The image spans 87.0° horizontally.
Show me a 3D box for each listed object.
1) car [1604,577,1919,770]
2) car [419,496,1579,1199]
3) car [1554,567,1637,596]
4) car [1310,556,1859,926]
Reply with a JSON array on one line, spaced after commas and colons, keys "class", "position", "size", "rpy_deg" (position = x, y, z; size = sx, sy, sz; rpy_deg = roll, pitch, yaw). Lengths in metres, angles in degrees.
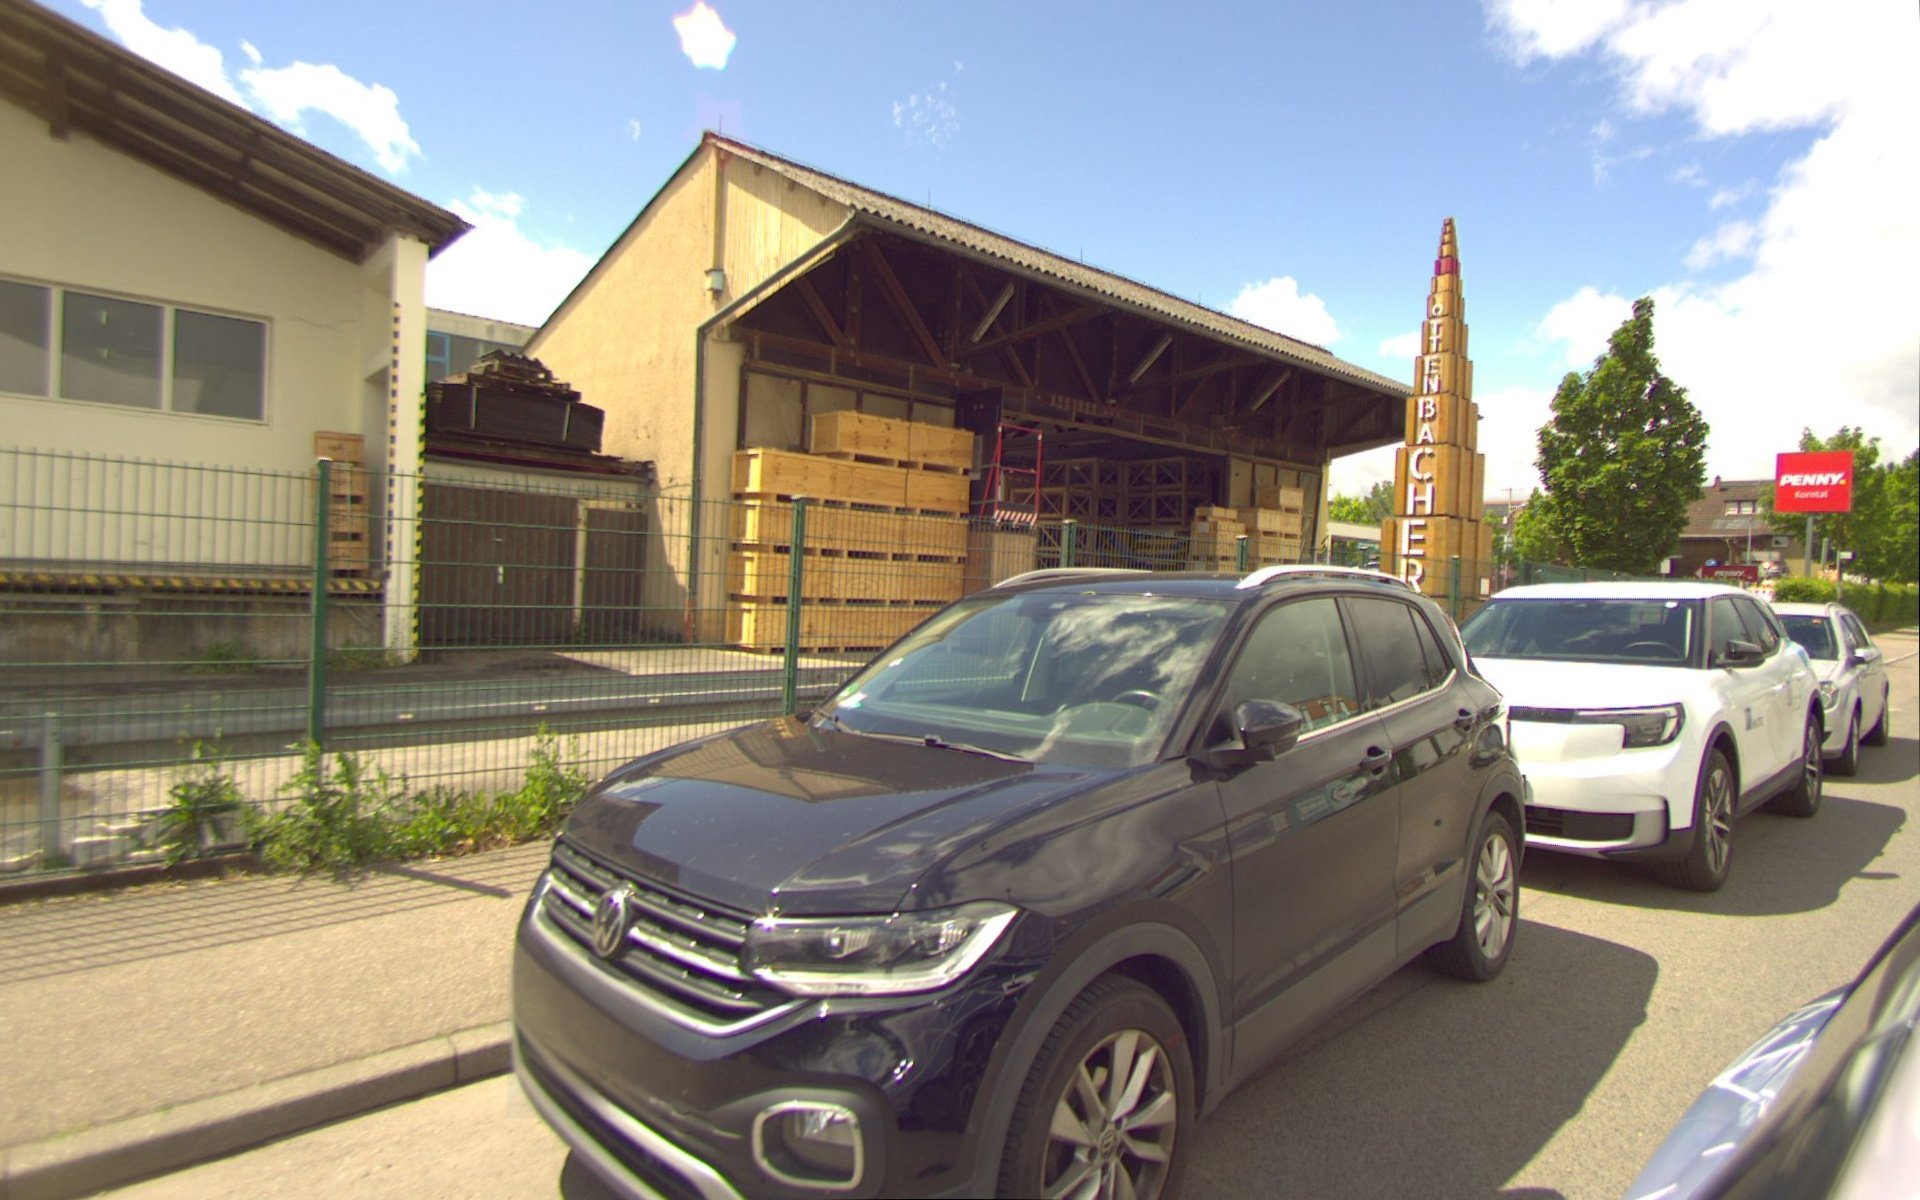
[{"class": "car", "position": [8.207, 0.583, 10.170], "size": [4.288, 1.467, 1.795], "rpy_deg": [0, 3, -42]}, {"class": "car", "position": [0.590, 0.593, 3.487], "size": [4.019, 1.571, 1.691], "rpy_deg": [0, 3, -45]}, {"class": "car", "position": [39.482, -1.101, 62.948], "size": [1.966, 1.727, 3.992], "rpy_deg": [1, 0, -42]}, {"class": "car", "position": [4.283, 0.597, 6.587], "size": [4.494, 1.571, 1.795], "rpy_deg": [0, 3, -42]}]
